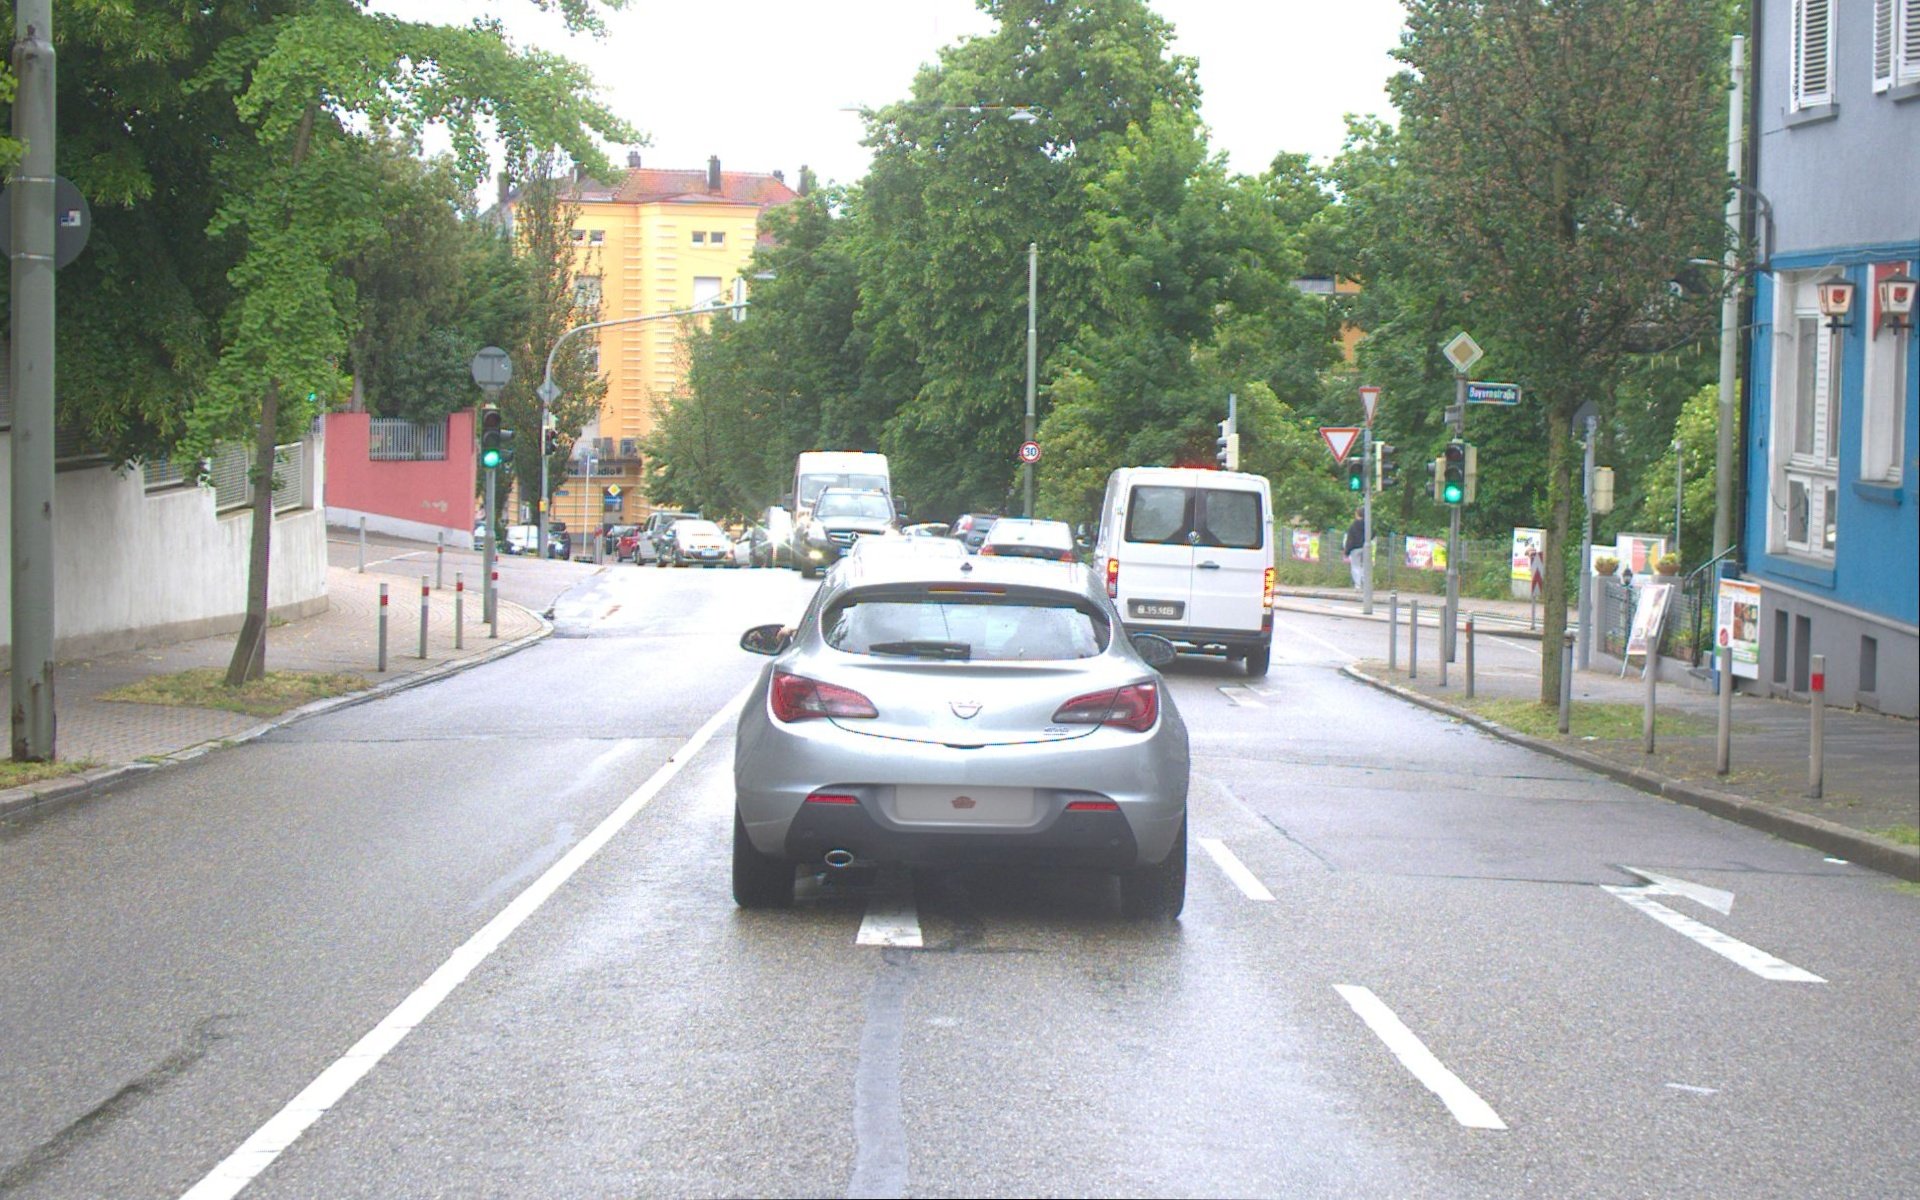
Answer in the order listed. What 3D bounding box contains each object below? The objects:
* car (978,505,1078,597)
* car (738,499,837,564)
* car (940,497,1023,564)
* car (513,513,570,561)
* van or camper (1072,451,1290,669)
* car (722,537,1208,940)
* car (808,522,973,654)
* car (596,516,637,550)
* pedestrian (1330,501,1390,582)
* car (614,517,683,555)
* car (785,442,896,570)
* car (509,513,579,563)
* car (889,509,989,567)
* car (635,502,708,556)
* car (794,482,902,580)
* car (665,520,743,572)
[{"bbox_3d":[1.059,-0.800,54.901,1.383,1.407,3.457,0,1,-2],"label":"car"},{"bbox_3d":[-4.411,-1.741,87.336,1.874,1.569,4.587,1,1,-11],"label":"car"},{"bbox_3d":[0.468,-1.573,78.743,1.620,1.481,3.436,1,0,-4],"label":"car"},{"bbox_3d":[-14.440,-2.183,118.802,1.852,1.481,5.369,1,3,-6],"label":"car"},{"bbox_3d":[2.549,-0.504,40.986,2.103,2.318,5.418,3,1,0],"label":"van or camper"},{"bbox_3d":[0.005,0.494,15.130,1.815,1.425,4.001,2,2,0],"label":"car"},{"bbox_3d":[-0.773,-0.145,38.881,1.776,1.425,3.786,0,1,-1],"label":"car"},{"bbox_3d":[-15.910,-3.099,159.312,1.776,1.425,3.787,2,2,-5],"label":"car"},{"bbox_3d":[8.059,-1.179,69.217,0.765,1.600,0.966,-2,1,-26],"label":"pedestrian"},{"bbox_3d":[-12.899,-2.637,142.111,1.814,1.462,4.001,-4,2,-19],"label":"car"},{"bbox_3d":[-2.531,-1.925,71.761,2.117,2.537,5.541,1,1,-4],"label":"car"},{"bbox_3d":[-17.273,-2.571,142.590,1.993,2.007,4.001,1,0,-20],"label":"car"},{"bbox_3d":[-0.639,-1.798,100.651,1.814,1.490,4.001,-5,1,-16],"label":"car"},{"bbox_3d":[-10.410,-2.528,123.938,1.781,1.848,4.001,1,0,-17],"label":"car"},{"bbox_3d":[-2.083,-1.297,62.906,1.821,1.646,4.347,2,2,-3],"label":"car"},{"bbox_3d":[-7.735,-1.613,103.698,1.773,1.492,4.264,1,0,-12],"label":"car"}]
